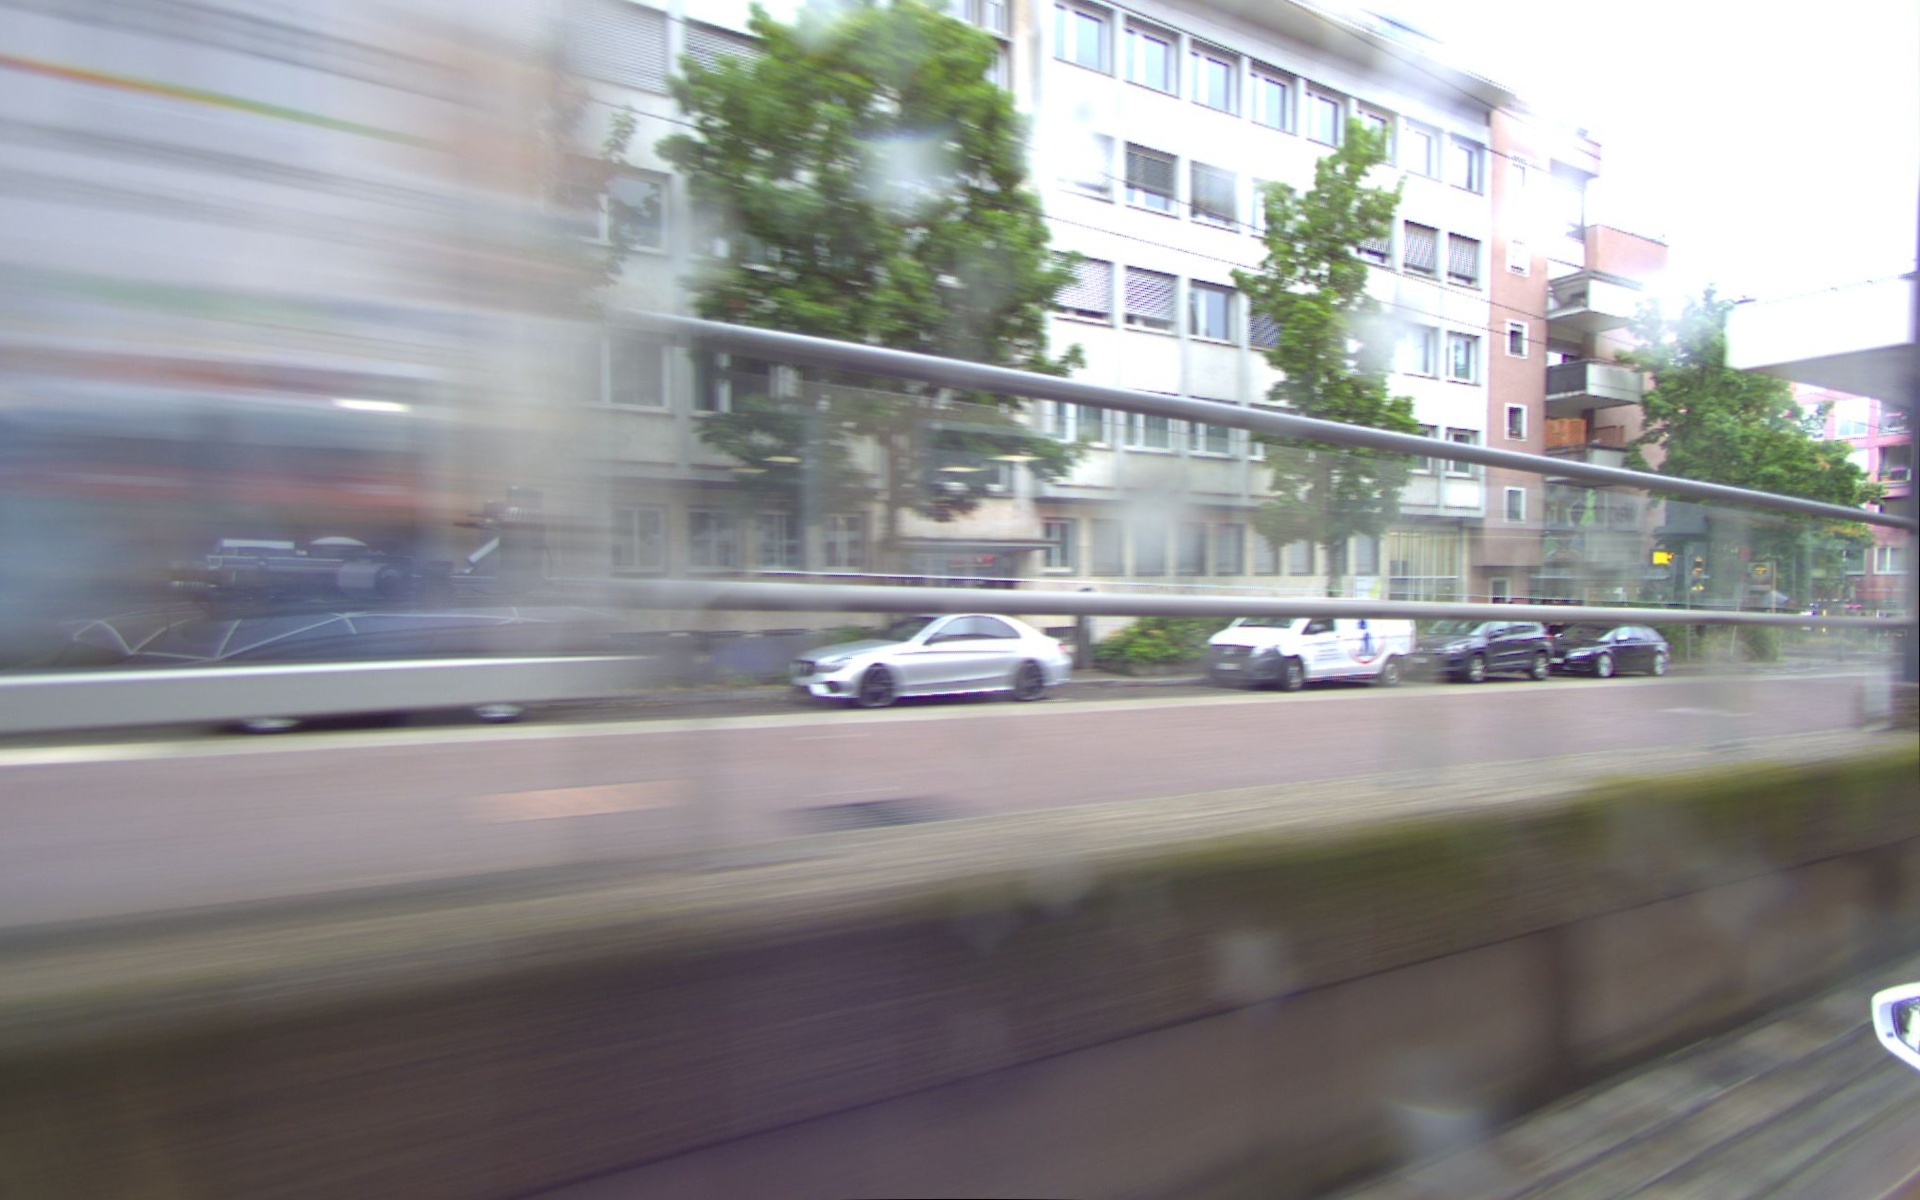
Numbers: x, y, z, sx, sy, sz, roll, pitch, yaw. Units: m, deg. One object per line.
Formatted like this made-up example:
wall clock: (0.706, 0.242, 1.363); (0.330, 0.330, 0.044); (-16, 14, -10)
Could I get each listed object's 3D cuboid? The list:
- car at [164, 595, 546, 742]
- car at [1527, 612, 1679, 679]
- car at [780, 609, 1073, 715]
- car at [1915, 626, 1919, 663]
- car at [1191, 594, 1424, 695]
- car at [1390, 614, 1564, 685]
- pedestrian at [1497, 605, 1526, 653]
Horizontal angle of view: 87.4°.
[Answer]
car: (-7.215, 0.760, 12.302); (3.761, 1.559, 1.630); (1, -1, -32)
car: (17.205, 1.179, 26.821); (4.319, 1.645, 1.631); (1, -1, -30)
car: (-0.463, 0.915, 16.087); (4.482, 1.481, 1.682); (1, -1, -33)
car: (37.005, 1.649, 37.167); (3.695, 1.356, 1.629); (1, -1, -33)
car: (7.343, 0.878, 20.989); (5.204, 1.869, 1.895); (1, -1, -34)
car: (12.409, 1.143, 24.046); (4.319, 1.557, 1.631); (1, -1, -30)
pedestrian: (18.569, 0.970, 33.821); (0.579, 1.578, 0.694); (1, -1, -36)
